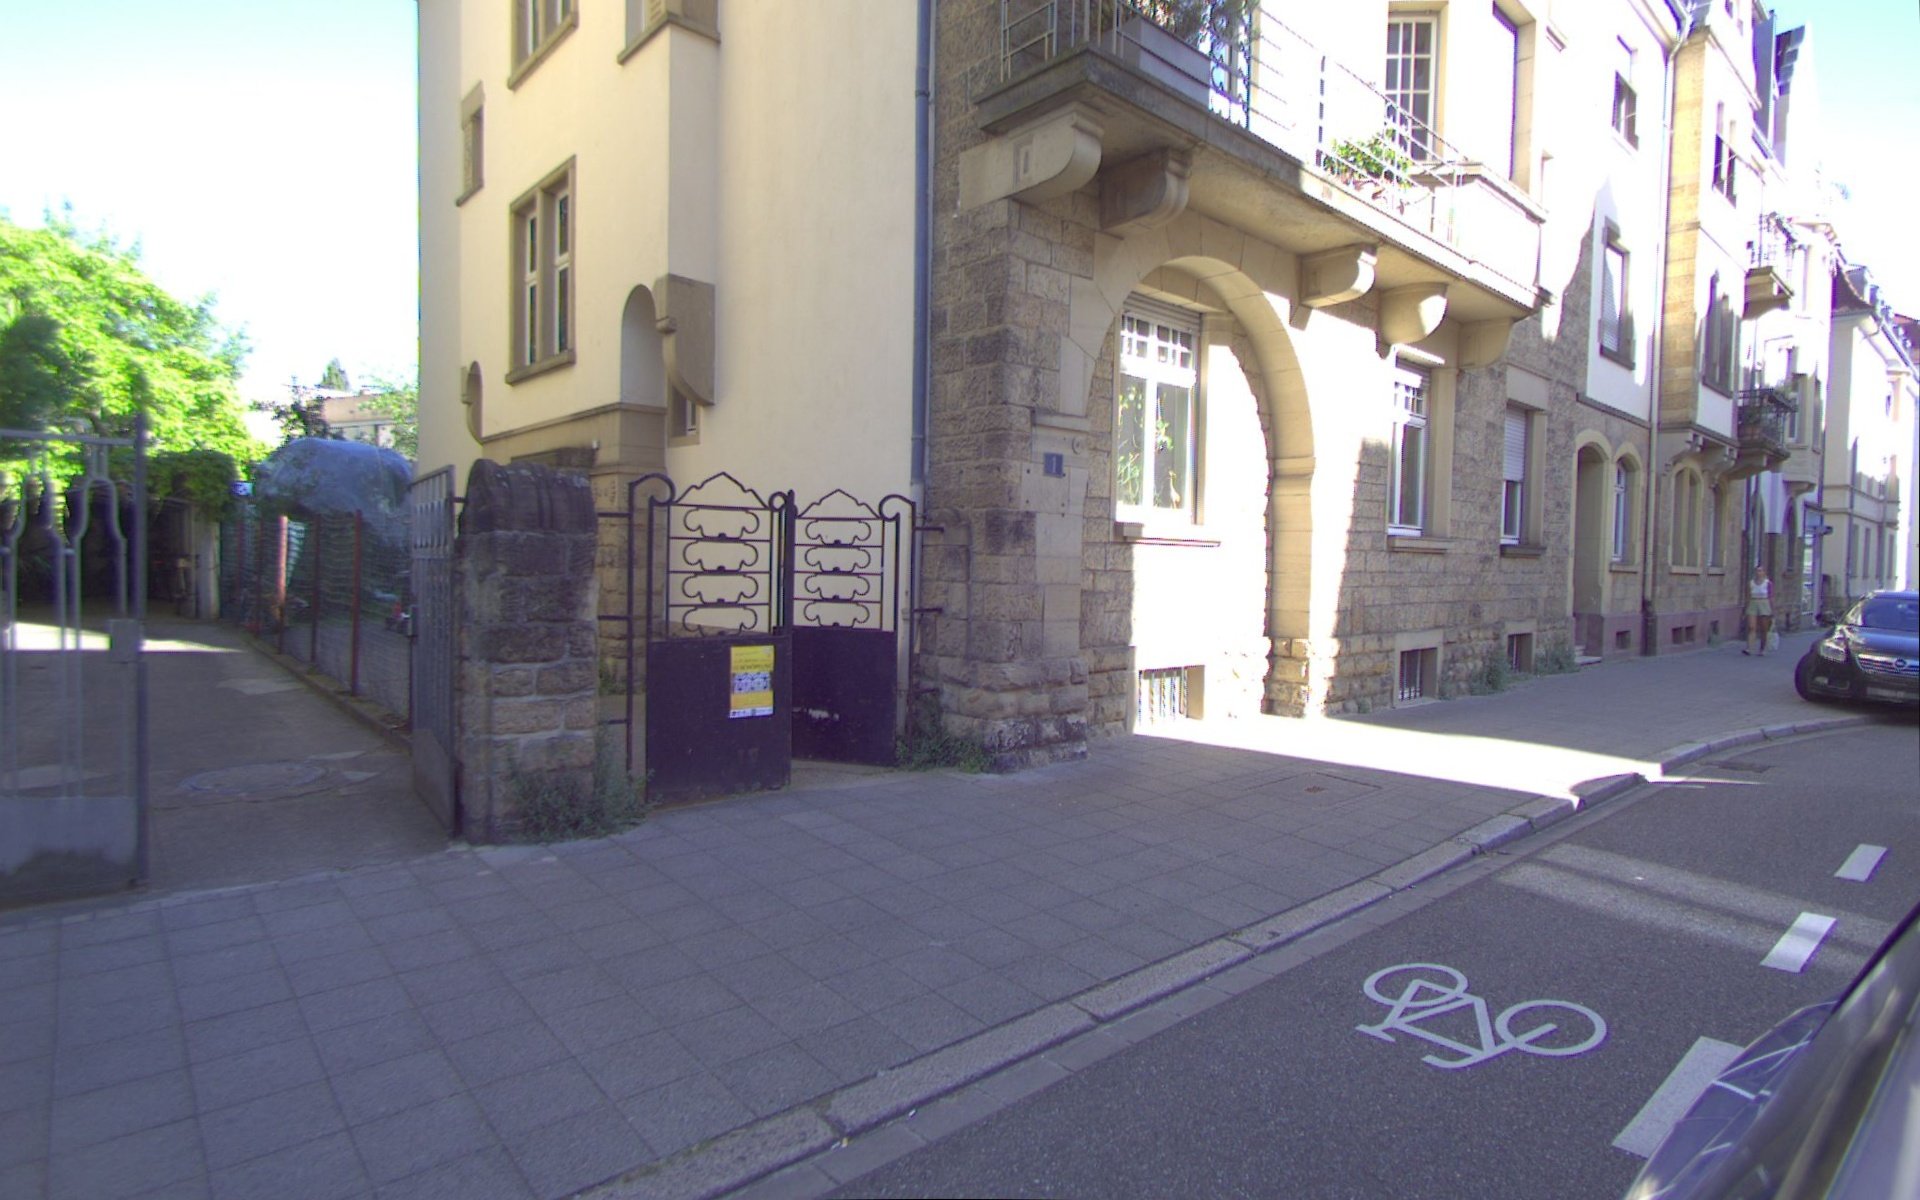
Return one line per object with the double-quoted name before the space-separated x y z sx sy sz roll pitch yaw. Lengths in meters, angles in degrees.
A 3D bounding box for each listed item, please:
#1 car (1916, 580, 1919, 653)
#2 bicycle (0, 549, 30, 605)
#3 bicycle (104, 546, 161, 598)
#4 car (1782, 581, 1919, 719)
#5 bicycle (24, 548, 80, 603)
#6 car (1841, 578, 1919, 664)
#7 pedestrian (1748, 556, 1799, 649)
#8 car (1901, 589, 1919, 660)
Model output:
"car" 23.250 0.358 23.124 3.755 1.616 1.830 0 0 -43
"bicycle" -18.666 -0.472 19.743 1.981 1.022 0.643 4 3 43
"bicycle" -17.359 -0.612 21.225 1.981 1.021 0.643 4 5 43
"car" 12.137 0.554 12.845 3.930 1.557 1.997 0 0 -41
"bicycle" -18.202 -0.514 20.269 1.981 1.021 0.643 4 5 43
"car" 16.643 0.320 17.313 3.930 1.362 1.832 0 0 -41
"pedestrian" 15.731 0.032 19.563 0.685 1.743 0.578 -1 3 -41
"car" 20.292 0.470 20.301 3.755 1.362 1.830 0 0 -43
